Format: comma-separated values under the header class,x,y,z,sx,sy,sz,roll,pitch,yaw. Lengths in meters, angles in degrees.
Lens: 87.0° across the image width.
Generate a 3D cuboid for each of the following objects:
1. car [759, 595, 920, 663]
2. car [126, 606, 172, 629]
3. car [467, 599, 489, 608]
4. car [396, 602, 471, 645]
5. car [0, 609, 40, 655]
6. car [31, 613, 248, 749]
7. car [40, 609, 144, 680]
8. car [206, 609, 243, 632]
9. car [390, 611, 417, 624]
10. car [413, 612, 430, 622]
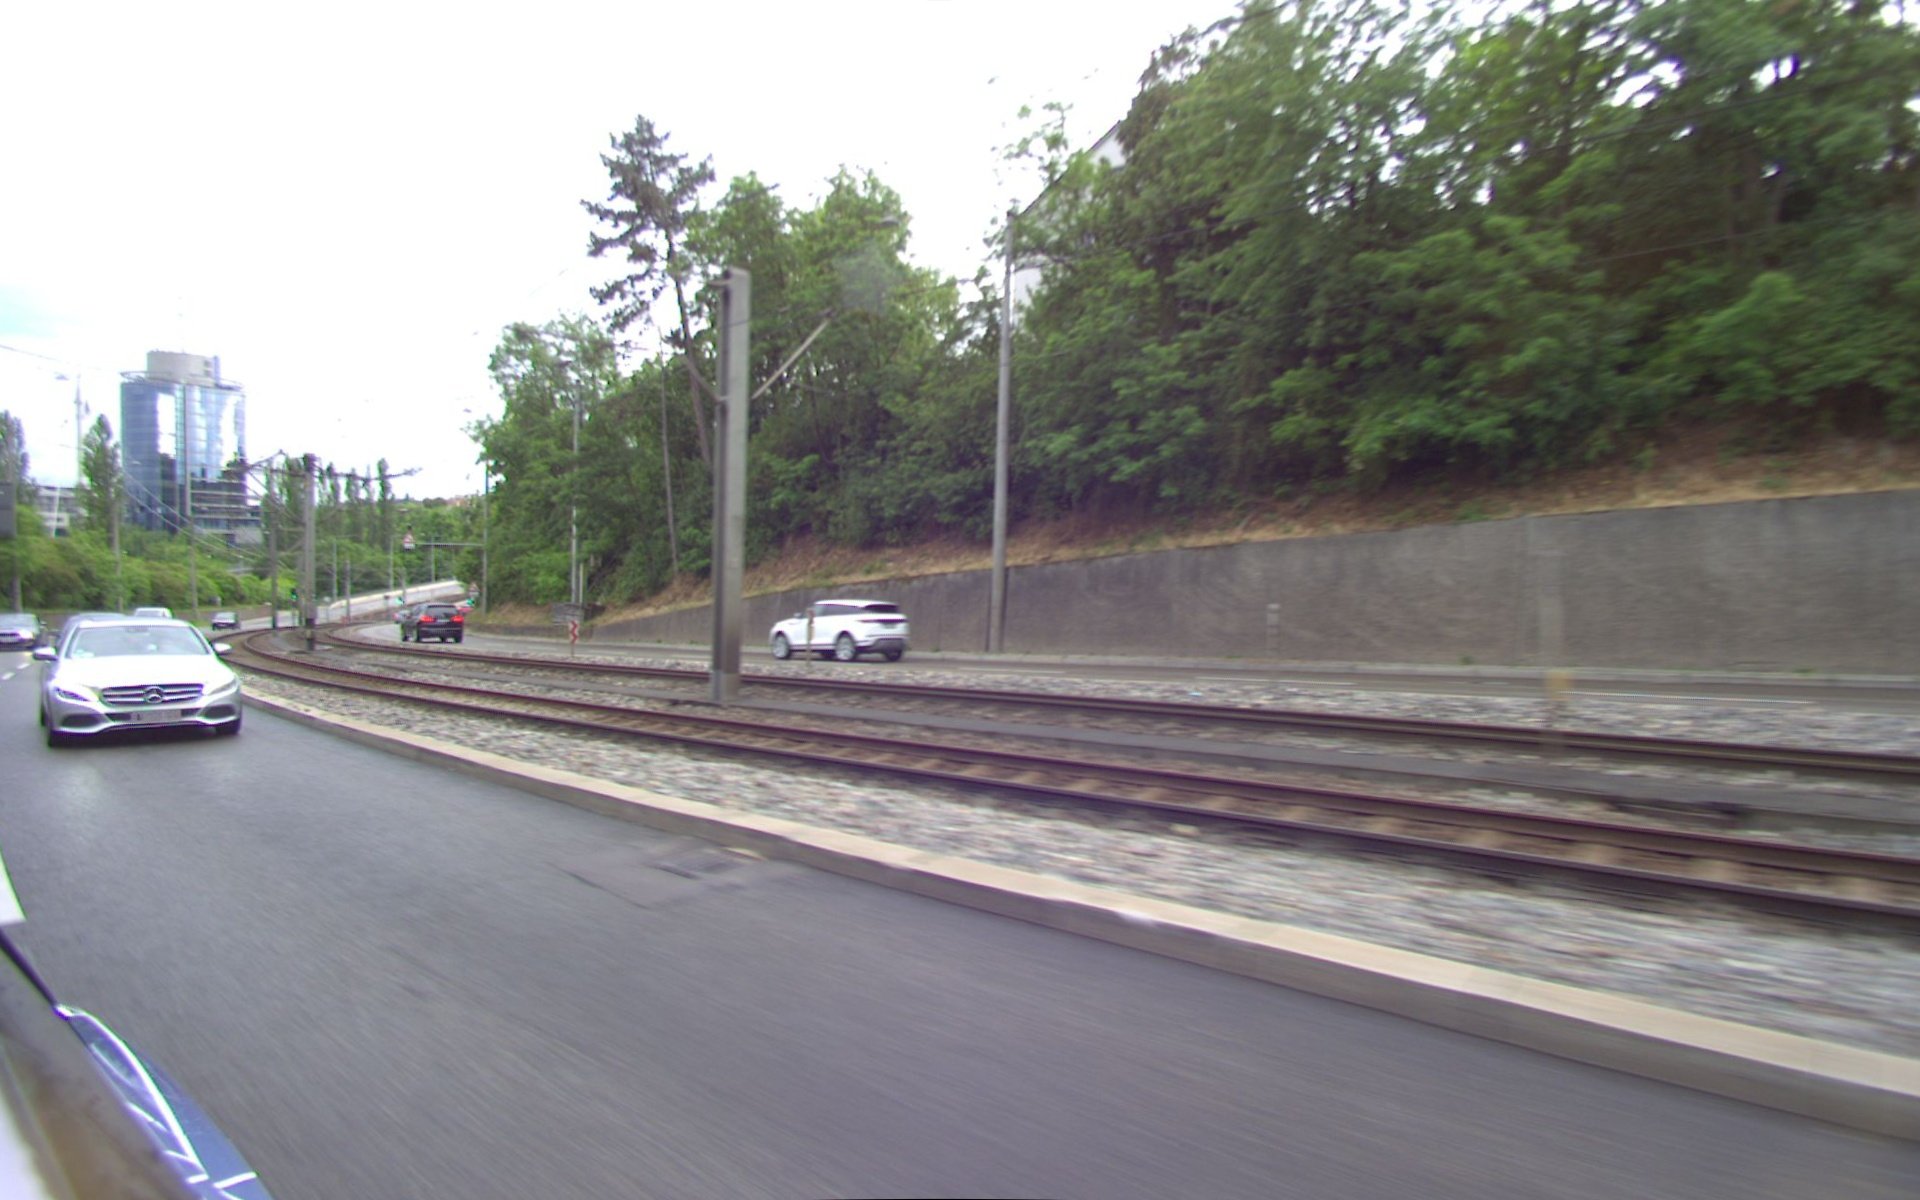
class,x,y,z,sx,sy,sz,roll,pitch,yaw
car,-3.315,0.733,27.325,4.407,1.696,1.914,-1,-1,42
car,-61.638,1.308,76.980,1.780,1.521,4.014,-2,3,-26
car,-80.960,0.554,169.988,2.181,1.469,4.472,-1,0,-10
car,-24.521,1.060,47.056,2.205,1.845,5.148,0,-1,-38
car,-37.427,1.246,39.670,4.002,1.521,1.785,2,4,45
car,-10.563,0.891,12.908,1.834,1.413,4.319,1,-1,-43
car,-20.179,0.973,23.588,1.704,1.482,3.893,-1,0,-40
car,-65.325,1.797,89.921,1.965,2.029,4.509,0,-1,-27
car,-62.733,1.997,114.125,1.878,1.469,4.476,0,-1,-19
car,-65.619,2.053,123.309,1.640,1.209,4.477,-1,0,-25
